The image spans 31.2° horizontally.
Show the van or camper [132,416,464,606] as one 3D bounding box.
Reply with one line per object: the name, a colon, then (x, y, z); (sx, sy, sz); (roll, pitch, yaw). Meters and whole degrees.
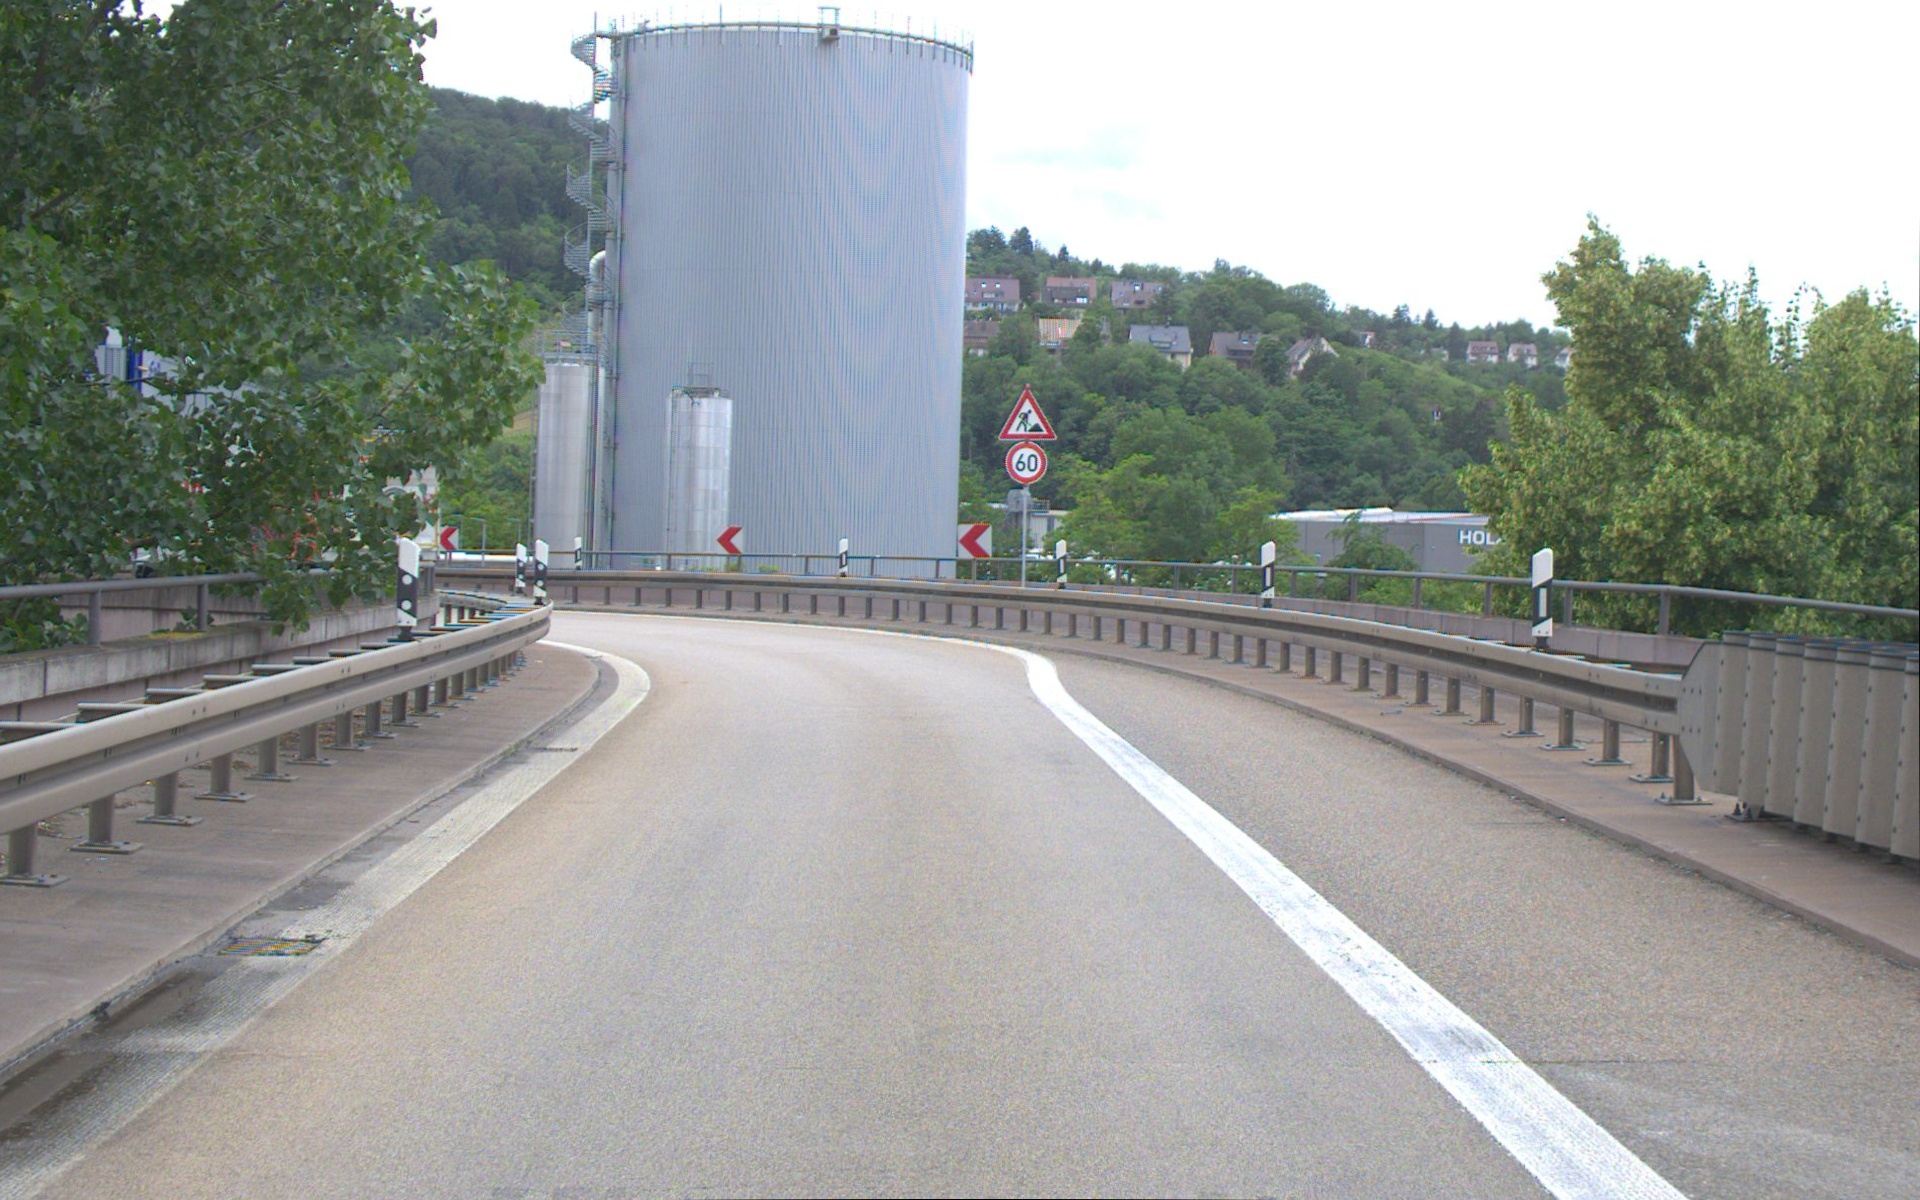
van or camper: (-13.394, -1.791, 68.925); (3.122, 3.567, 8.549); (0, 2, -37)
